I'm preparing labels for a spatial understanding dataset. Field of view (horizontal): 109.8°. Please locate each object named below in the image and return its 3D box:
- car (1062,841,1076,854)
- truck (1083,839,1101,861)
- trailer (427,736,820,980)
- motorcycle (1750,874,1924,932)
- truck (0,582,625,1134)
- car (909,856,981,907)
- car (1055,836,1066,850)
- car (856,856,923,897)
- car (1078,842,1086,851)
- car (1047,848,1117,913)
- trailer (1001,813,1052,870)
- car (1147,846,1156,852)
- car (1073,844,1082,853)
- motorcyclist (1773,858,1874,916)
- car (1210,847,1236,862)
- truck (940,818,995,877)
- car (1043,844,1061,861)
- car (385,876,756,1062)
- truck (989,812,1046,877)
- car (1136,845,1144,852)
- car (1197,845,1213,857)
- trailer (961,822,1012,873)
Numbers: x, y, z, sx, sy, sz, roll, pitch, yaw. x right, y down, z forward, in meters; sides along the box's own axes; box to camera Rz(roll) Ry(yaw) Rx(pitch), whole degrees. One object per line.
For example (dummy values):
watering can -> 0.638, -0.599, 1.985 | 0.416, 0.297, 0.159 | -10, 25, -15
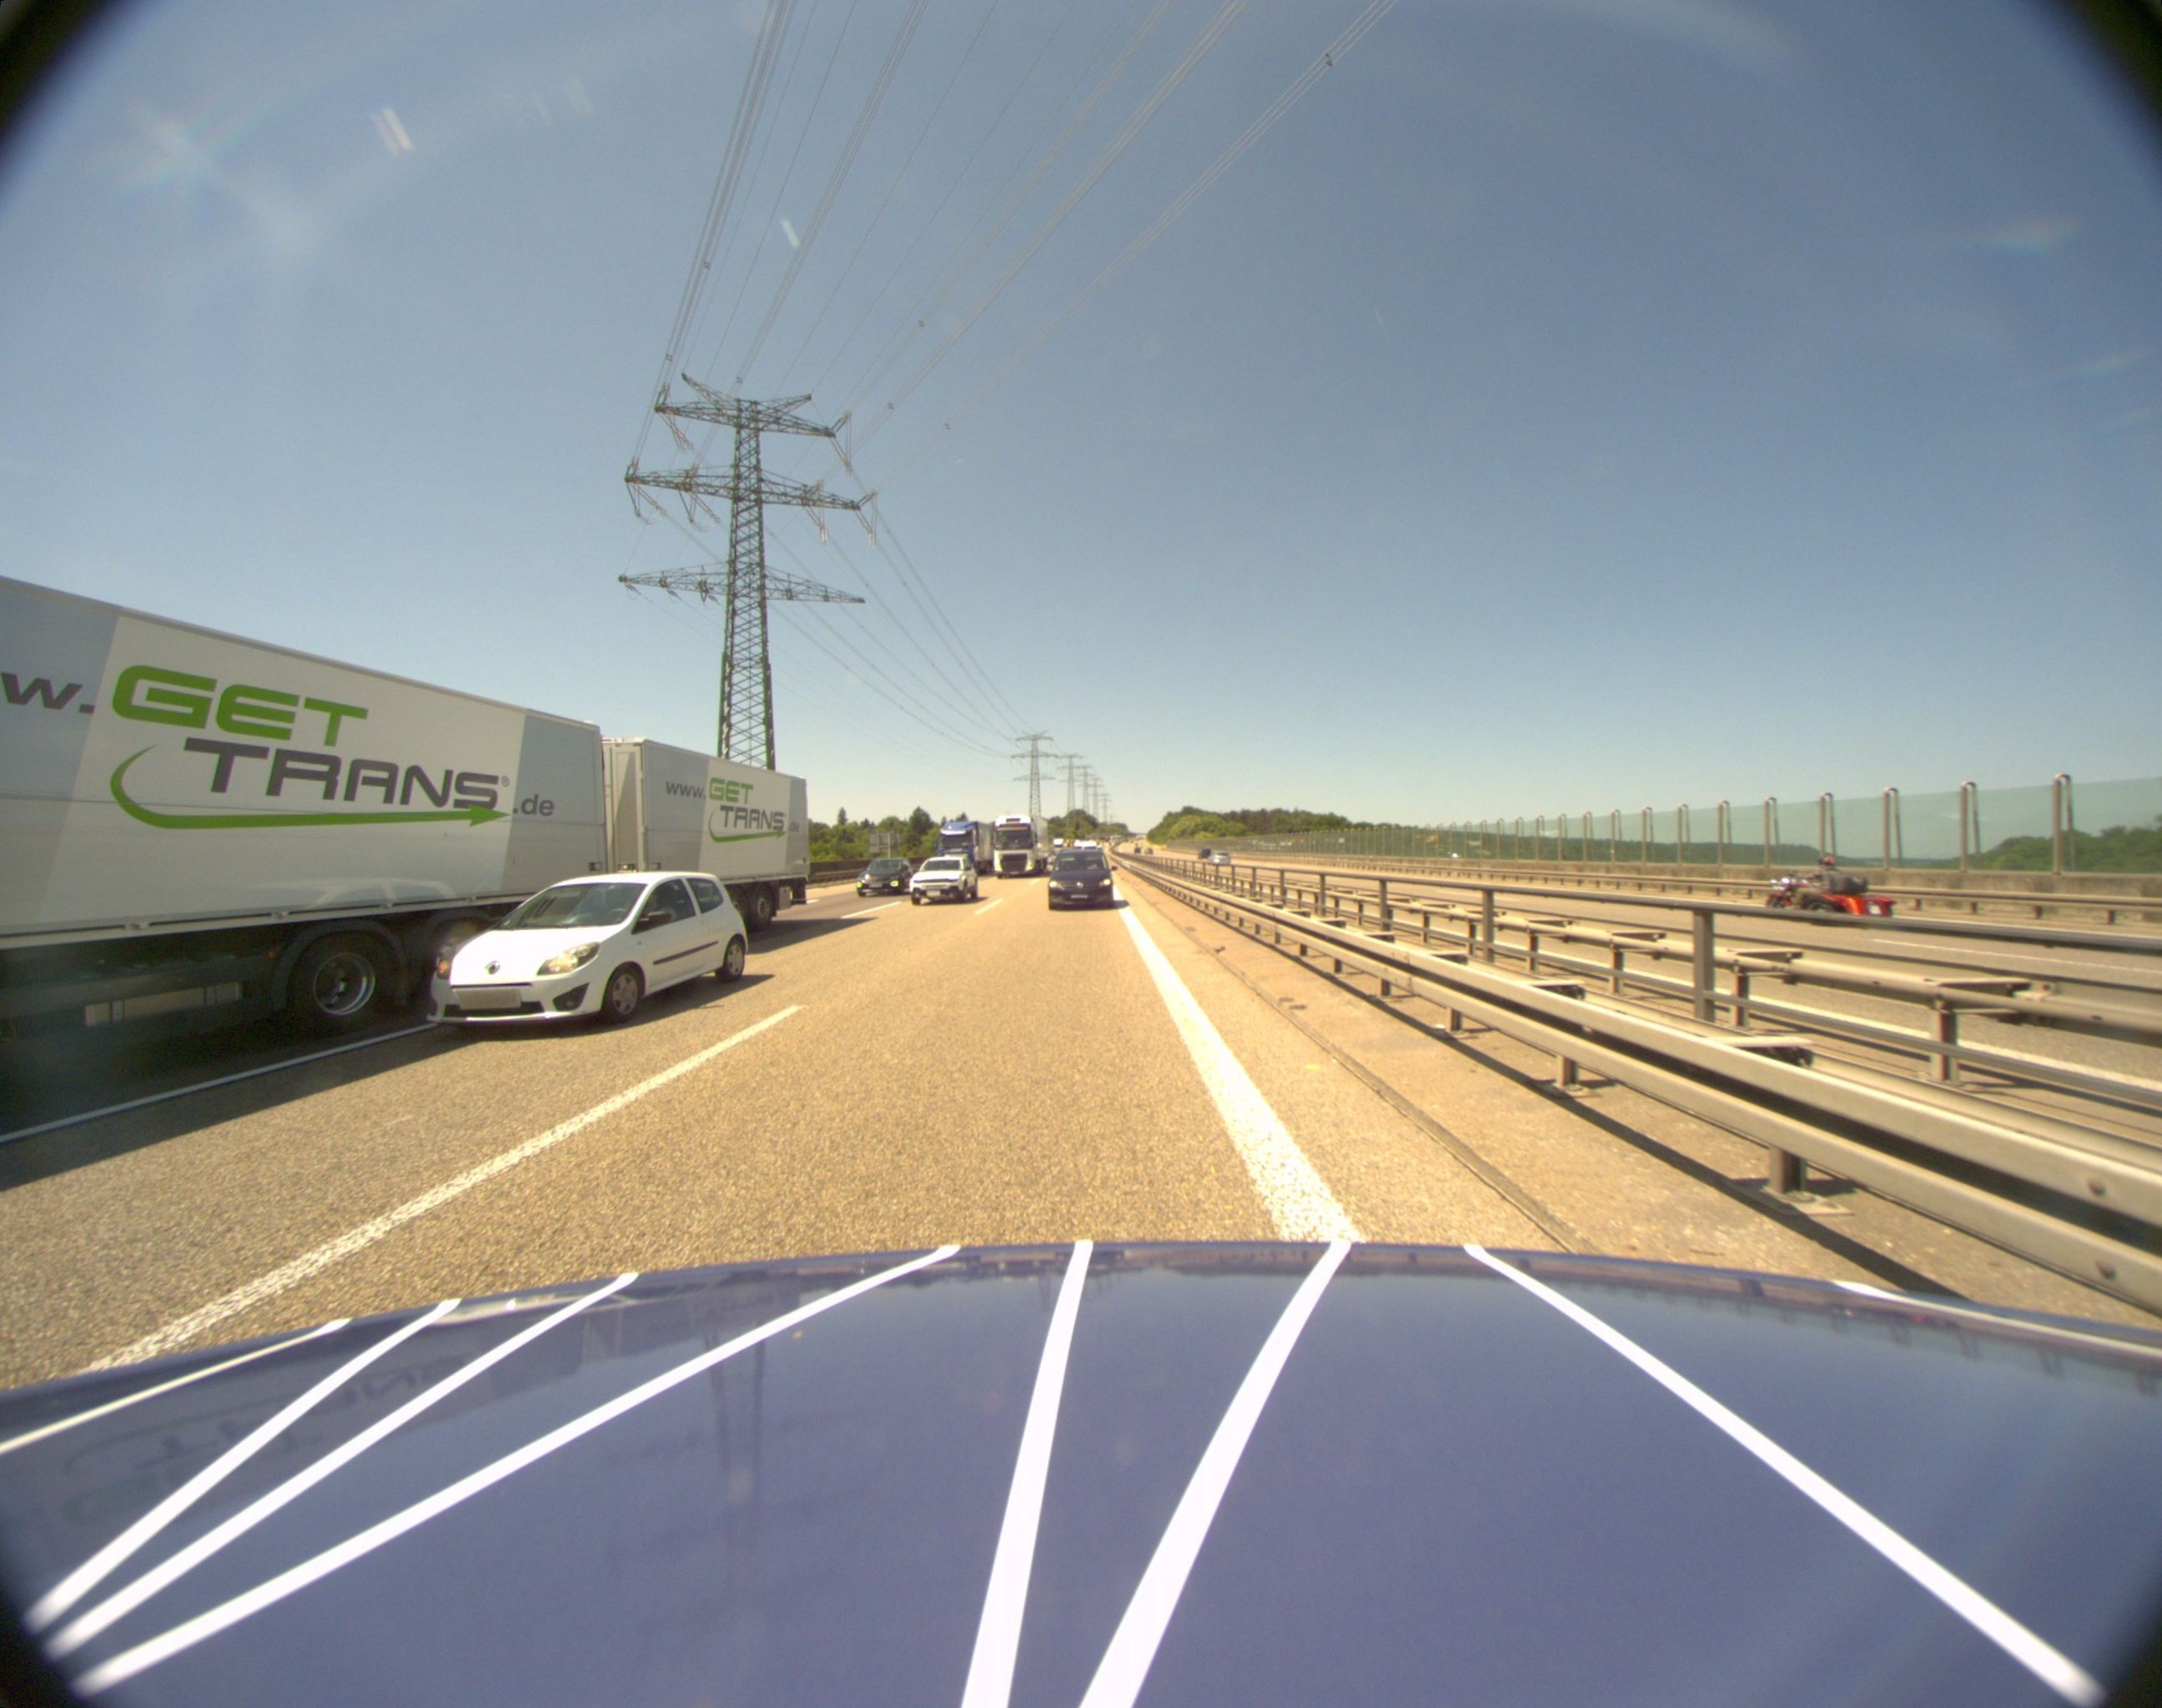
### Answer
car -> -1.926, -1.041, 121.739 | 1.998, 2.002, 3.999 | -2, 1, 1
truck -> 1.475, -0.583, 97.915 | 2.100, 2.700, 5.864 | -2, 1, 1
trailer -> -8.330, 0.017, 15.616 | 2.851, 3.574, 8.290 | -2, 1, 0
motorcycle -> 16.991, 1.063, 17.227 | 1.369, 1.093, 2.576 | 1, 1, 1
truck -> -8.428, 0.057, 6.025 | 2.858, 3.582, 10.767 | -2, 1, 1
car -> -4.556, 0.873, 25.930 | 1.722, 1.526, 3.753 | -2, 1, 0
car -> -4.866, -2.606, 180.994 | 2.273, 3.304, 6.287 | -3, 1, 0
car -> -8.001, 0.906, 32.097 | 1.709, 1.497, 3.888 | -2, 1, 1
car -> 0.306, -1.809, 188.717 | 1.890, 2.002, 3.999 | -2, 1, 1
car -> 0.044, 0.674, 21.567 | 1.739, 1.607, 3.911 | -2, 1, 0
trailer -> -3.975, -0.980, 57.907 | 2.898, 3.847, 9.772 | -3, 1, 1
car -> 16.702, -1.202, 181.020 | 1.759, 1.538, 3.999 | 1, 1, 1
car -> -0.735, -1.178, 155.571 | 1.701, 1.599, 3.639 | -2, 1, 1
motorcyclist -> 16.973, 0.745, 17.405 | 1.189, 1.249, 1.119 | 1, 1, 1
car -> 14.246, 0.066, 76.425 | 1.915, 1.386, 4.164 | 0, 1, 1
truck -> -8.171, -0.489, 55.735 | 2.517, 3.945, 7.927 | -2, 1, 2
car -> -3.208, -0.215, 85.219 | 1.672, 1.761, 3.846 | -2, 1, 1
car -> -5.248, 1.060, 8.473 | 1.583, 1.432, 3.629 | -2, 1, 1
truck -> -4.044, -0.649, 49.643 | 2.914, 3.870, 6.739 | -3, 1, 0
car -> 15.287, -1.442, 197.645 | 1.759, 1.711, 4.101 | 0, 1, 1
car -> 19.395, -0.446, 119.354 | 1.787, 1.775, 4.301 | -1, 1, -1
trailer -> -7.895, -0.636, 65.154 | 2.543, 3.971, 10.884 | -2, 1, 2
